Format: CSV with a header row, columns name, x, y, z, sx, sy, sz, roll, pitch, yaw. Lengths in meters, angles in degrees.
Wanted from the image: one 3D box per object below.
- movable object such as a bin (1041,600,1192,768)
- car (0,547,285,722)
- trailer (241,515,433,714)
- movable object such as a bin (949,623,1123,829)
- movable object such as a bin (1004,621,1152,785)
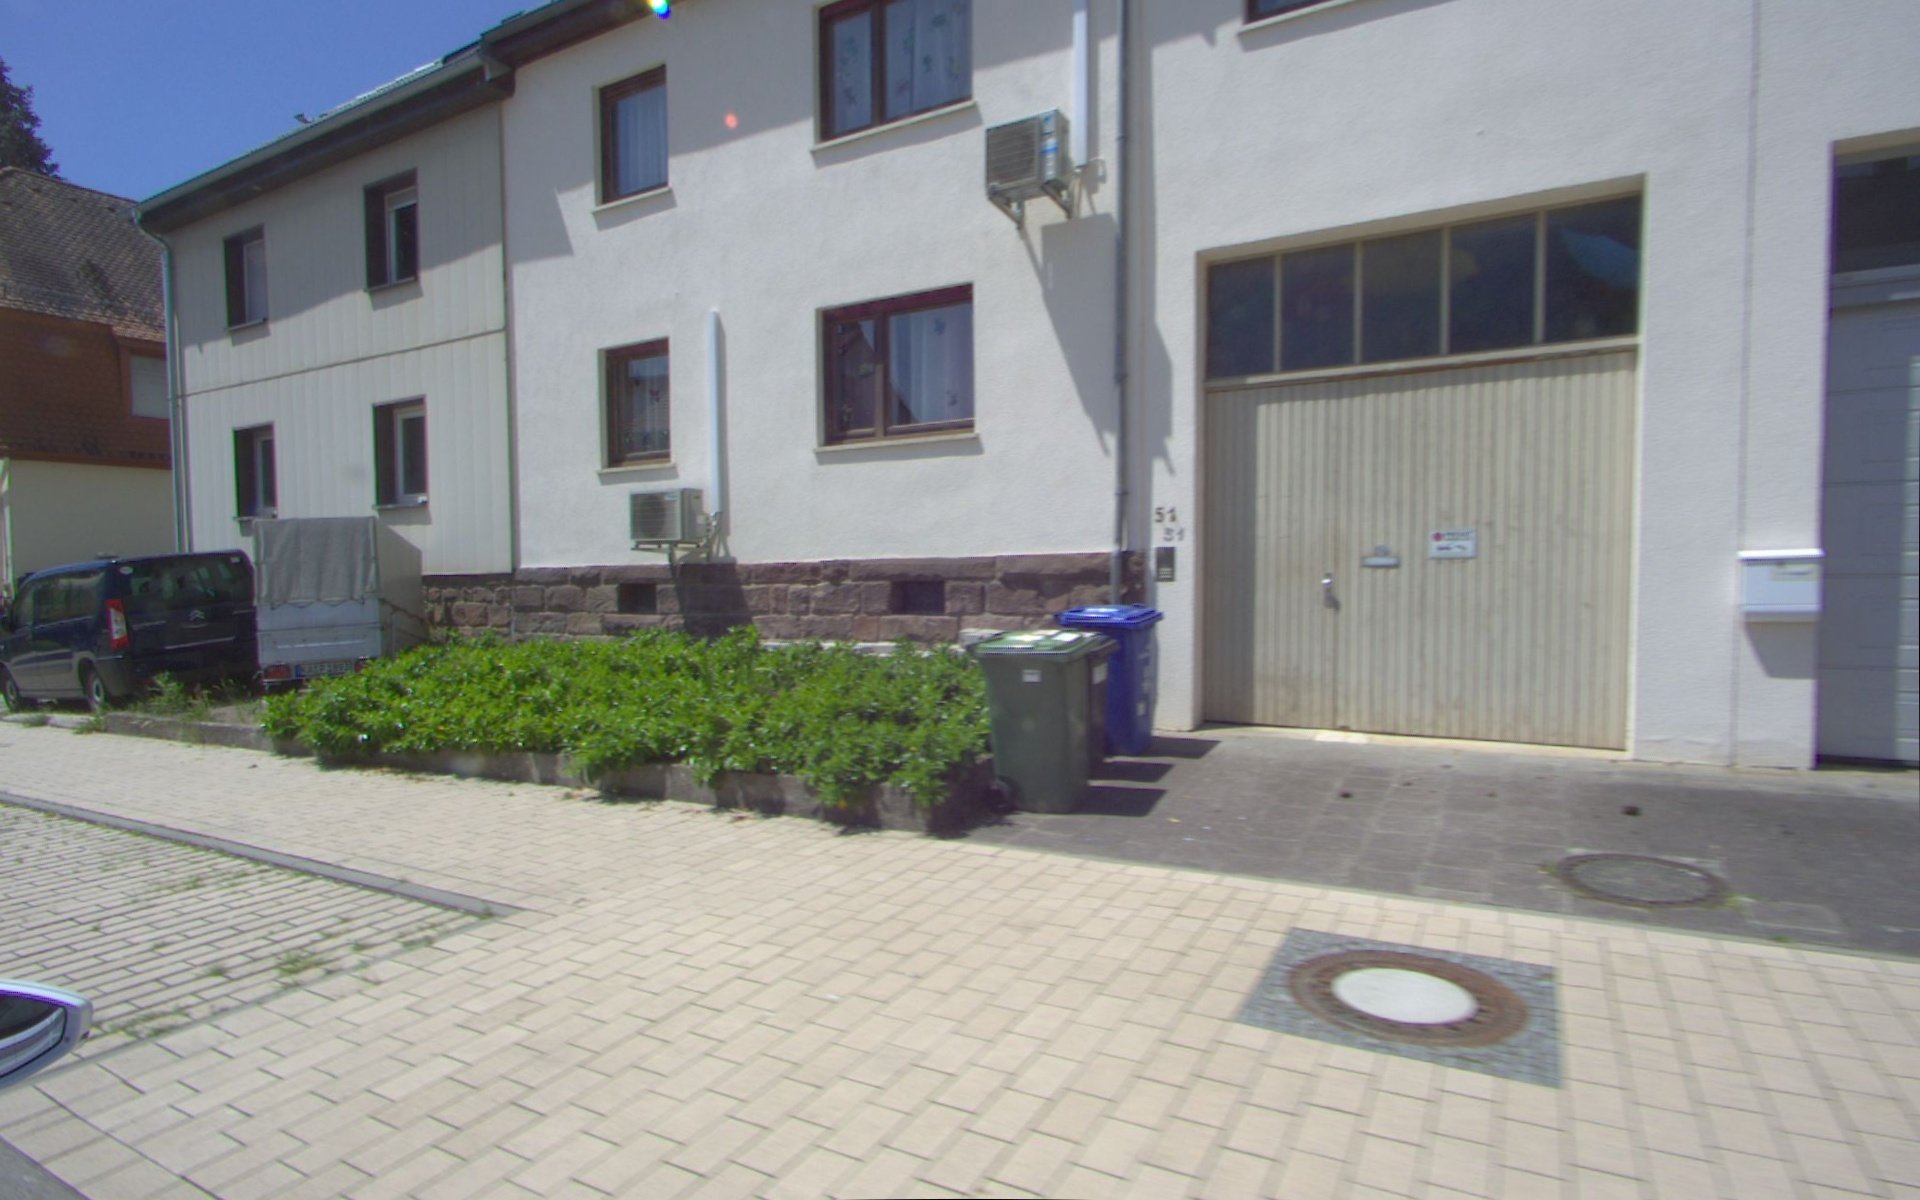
name,x,y,z,sx,sy,sz,roll,pitch,yaw
movable object such as a bin,1.163,0.588,7.417,0.852,1.122,0.682,-1,4,38
car,-11.491,0.405,13.715,4.705,1.999,1.847,-1,4,32
trailer,-7.045,0.176,11.522,1.301,2.040,2.270,0,-1,-16
movable object such as a bin,0.480,0.739,6.244,0.802,1.130,0.681,-1,4,37
movable object such as a bin,0.806,0.667,6.833,0.793,1.000,0.555,-1,5,38
